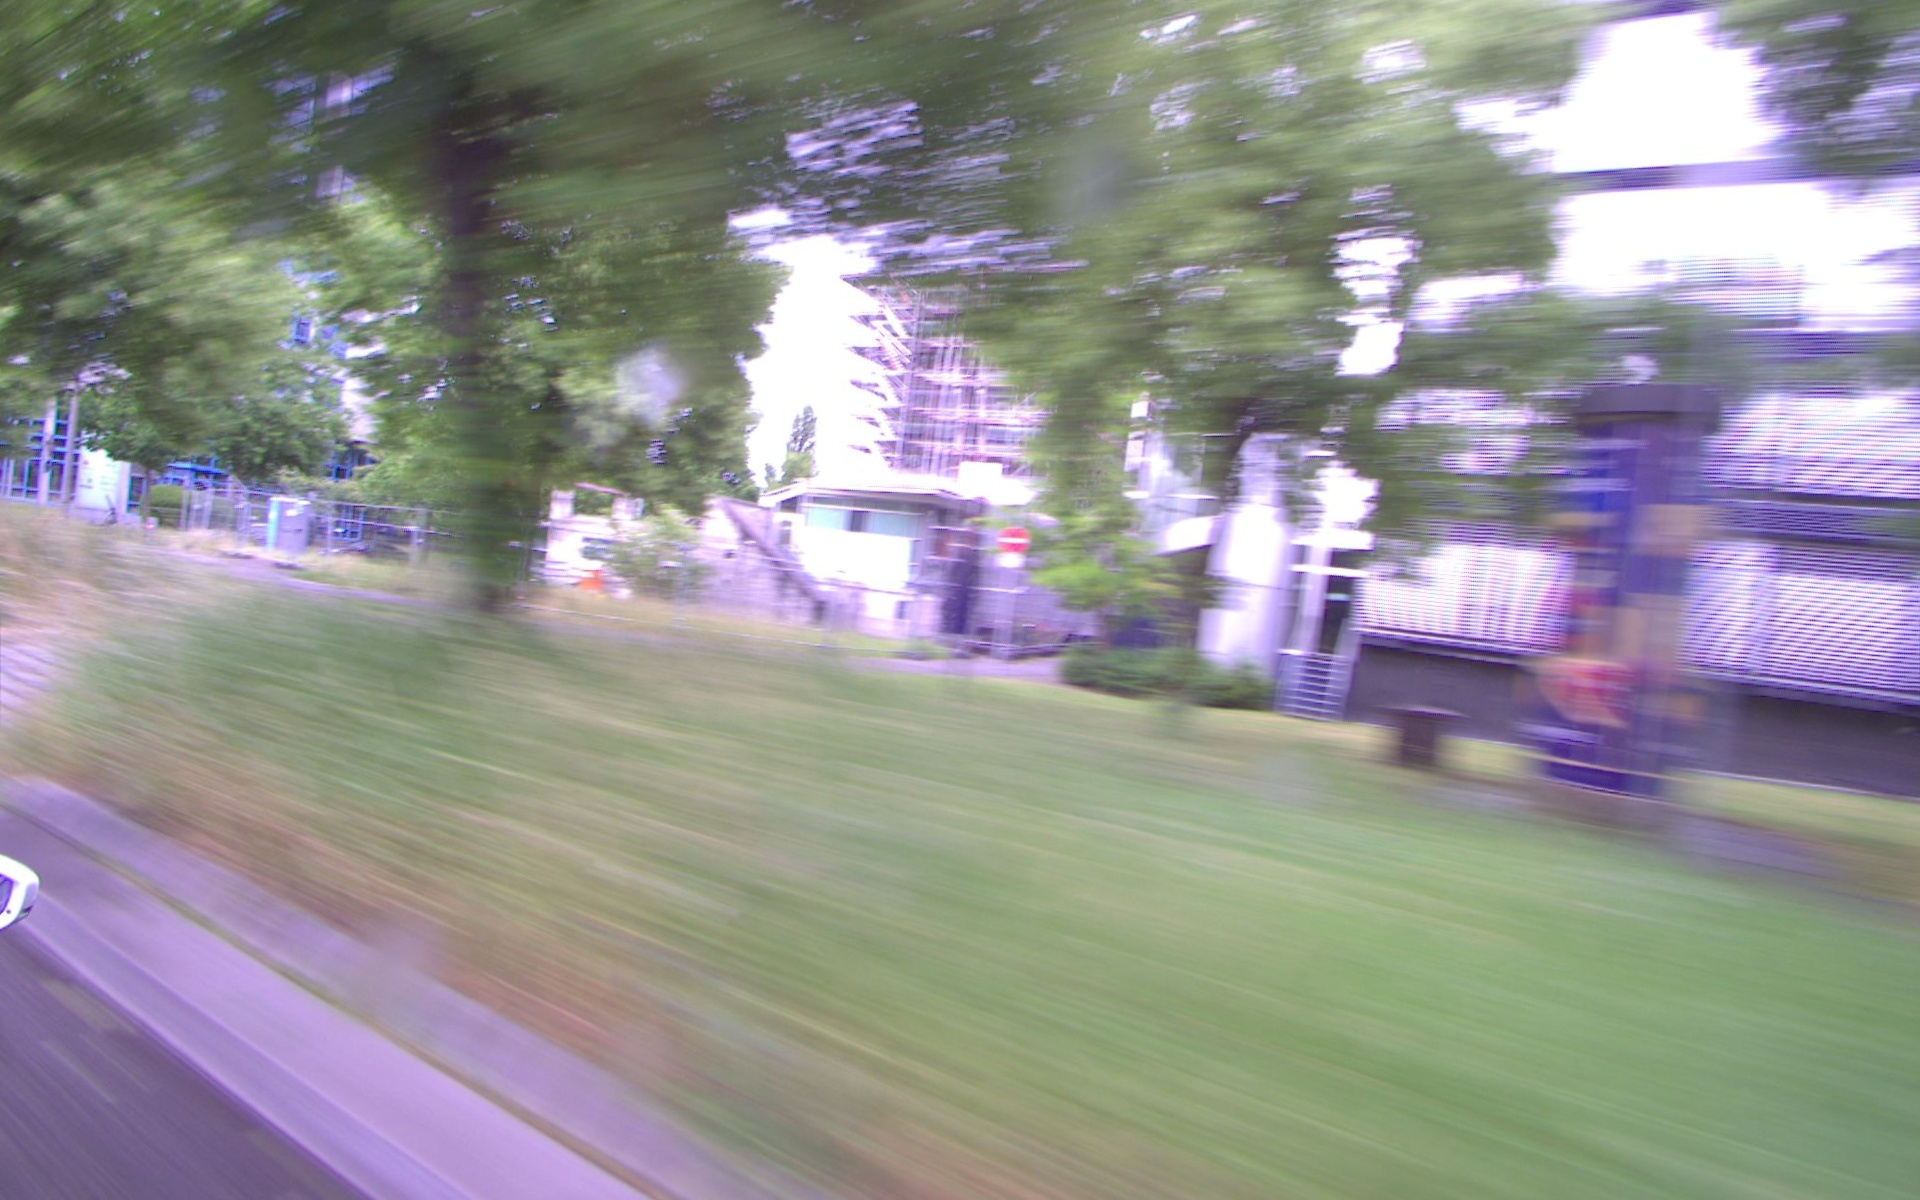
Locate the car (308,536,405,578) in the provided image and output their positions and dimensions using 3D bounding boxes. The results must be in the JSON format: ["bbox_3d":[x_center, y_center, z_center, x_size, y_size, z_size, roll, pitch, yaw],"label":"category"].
[{"bbox_3d":[-32.741,-2.319,54.660,1.730,1.598,4.097,9,1,36],"label":"car"}]
